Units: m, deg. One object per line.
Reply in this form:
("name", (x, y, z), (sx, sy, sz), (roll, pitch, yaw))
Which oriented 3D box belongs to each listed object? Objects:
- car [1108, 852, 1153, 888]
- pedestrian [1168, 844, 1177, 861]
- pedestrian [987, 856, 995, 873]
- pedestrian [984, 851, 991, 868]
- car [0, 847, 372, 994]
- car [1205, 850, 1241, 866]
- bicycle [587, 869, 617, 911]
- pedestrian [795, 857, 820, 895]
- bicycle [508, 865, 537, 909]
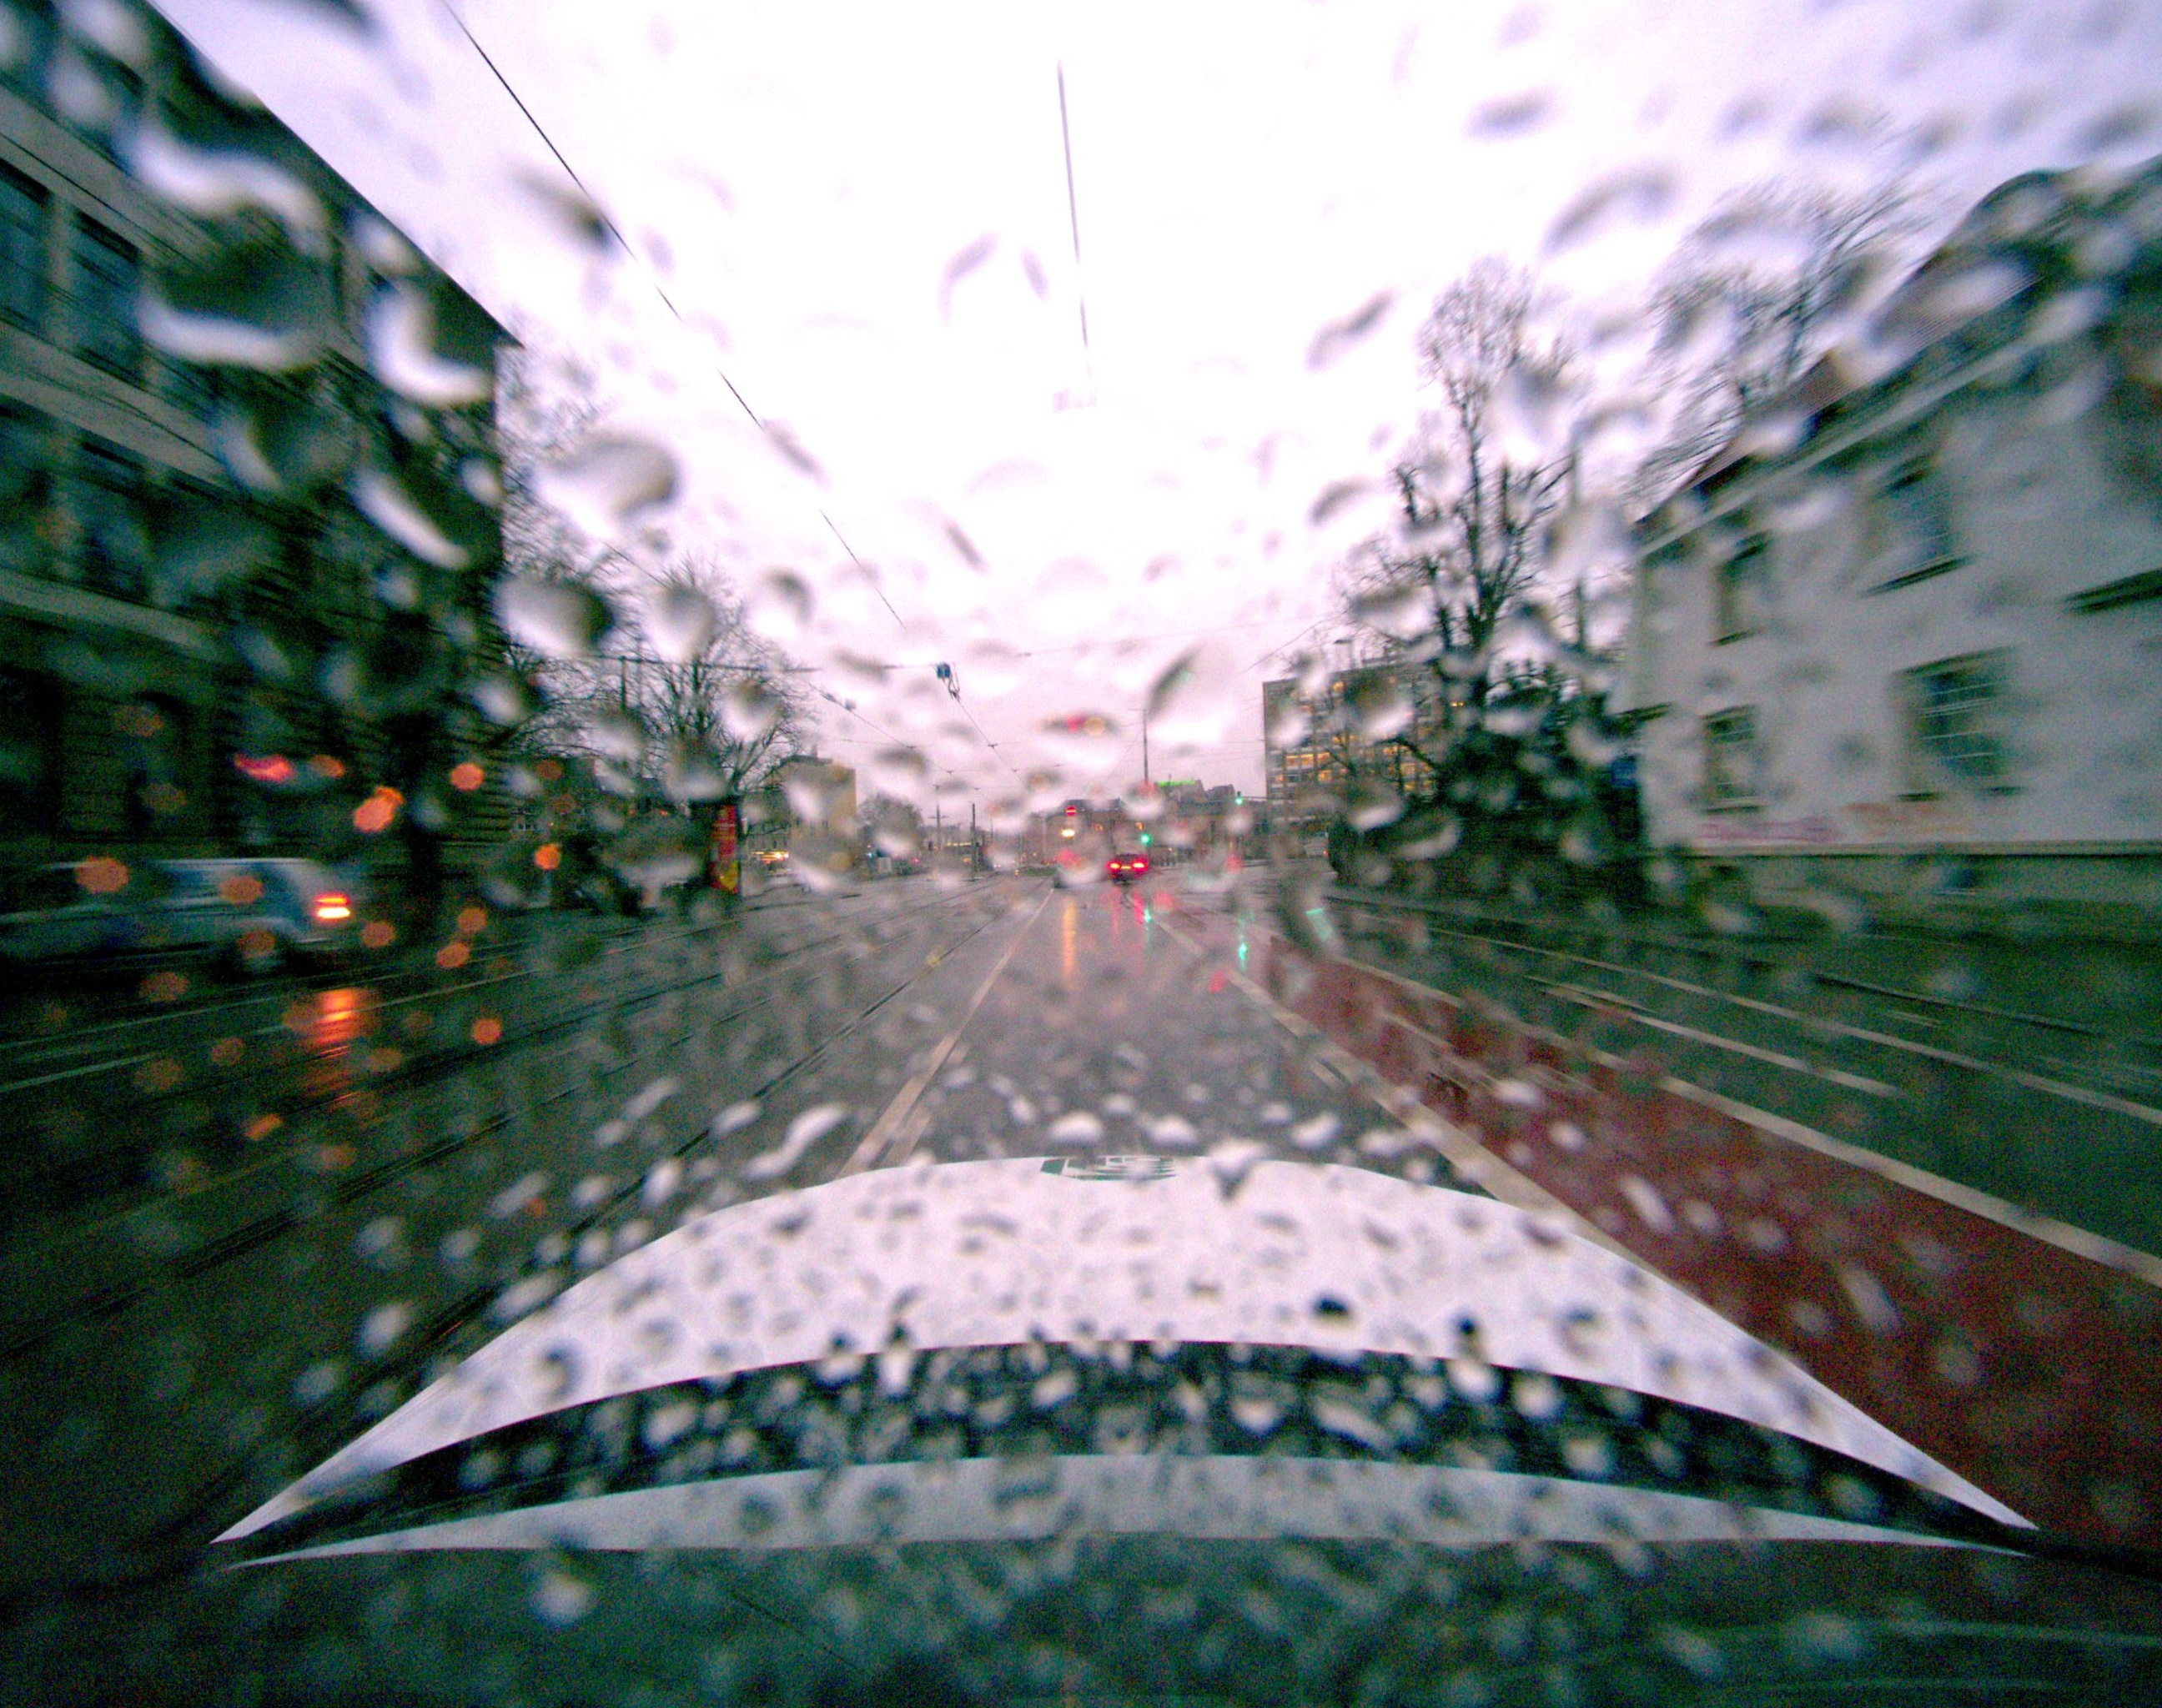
("car", (2.794, 0.826, 45.310), (1.635, 1.818, 4.017), (0, 1, 16))
("pedestrian", (9.262, -0.121, 82.618), (0.666, 1.674, 0.735), (0, -1, 37))
("pedestrian", (-9.721, 1.144, 88.083), (0.710, 1.806, 0.717), (0, -1, 0))
("pedestrian", (-9.895, 0.601, 86.051), (0.710, 1.757, 0.717), (0, -1, 0))
("car", (-14.535, 0.944, 12.910), (4.827, 2.034, 1.891), (1, -1, -38))
("car", (21.333, 0.602, 122.377), (2.269, 2.281, 4.979), (1, -1, -39))
("bicycle", (-20.442, 1.510, 34.722), (0.717, 1.689, 2.401), (1, -1, -39))
("pedestrian", (-17.303, 1.357, 51.455), (0.984, 2.370, 1.071), (0, -1, 30))
("bicycle", (-22.487, 1.315, 32.787), (0.717, 1.689, 2.401), (1, -1, -39))
